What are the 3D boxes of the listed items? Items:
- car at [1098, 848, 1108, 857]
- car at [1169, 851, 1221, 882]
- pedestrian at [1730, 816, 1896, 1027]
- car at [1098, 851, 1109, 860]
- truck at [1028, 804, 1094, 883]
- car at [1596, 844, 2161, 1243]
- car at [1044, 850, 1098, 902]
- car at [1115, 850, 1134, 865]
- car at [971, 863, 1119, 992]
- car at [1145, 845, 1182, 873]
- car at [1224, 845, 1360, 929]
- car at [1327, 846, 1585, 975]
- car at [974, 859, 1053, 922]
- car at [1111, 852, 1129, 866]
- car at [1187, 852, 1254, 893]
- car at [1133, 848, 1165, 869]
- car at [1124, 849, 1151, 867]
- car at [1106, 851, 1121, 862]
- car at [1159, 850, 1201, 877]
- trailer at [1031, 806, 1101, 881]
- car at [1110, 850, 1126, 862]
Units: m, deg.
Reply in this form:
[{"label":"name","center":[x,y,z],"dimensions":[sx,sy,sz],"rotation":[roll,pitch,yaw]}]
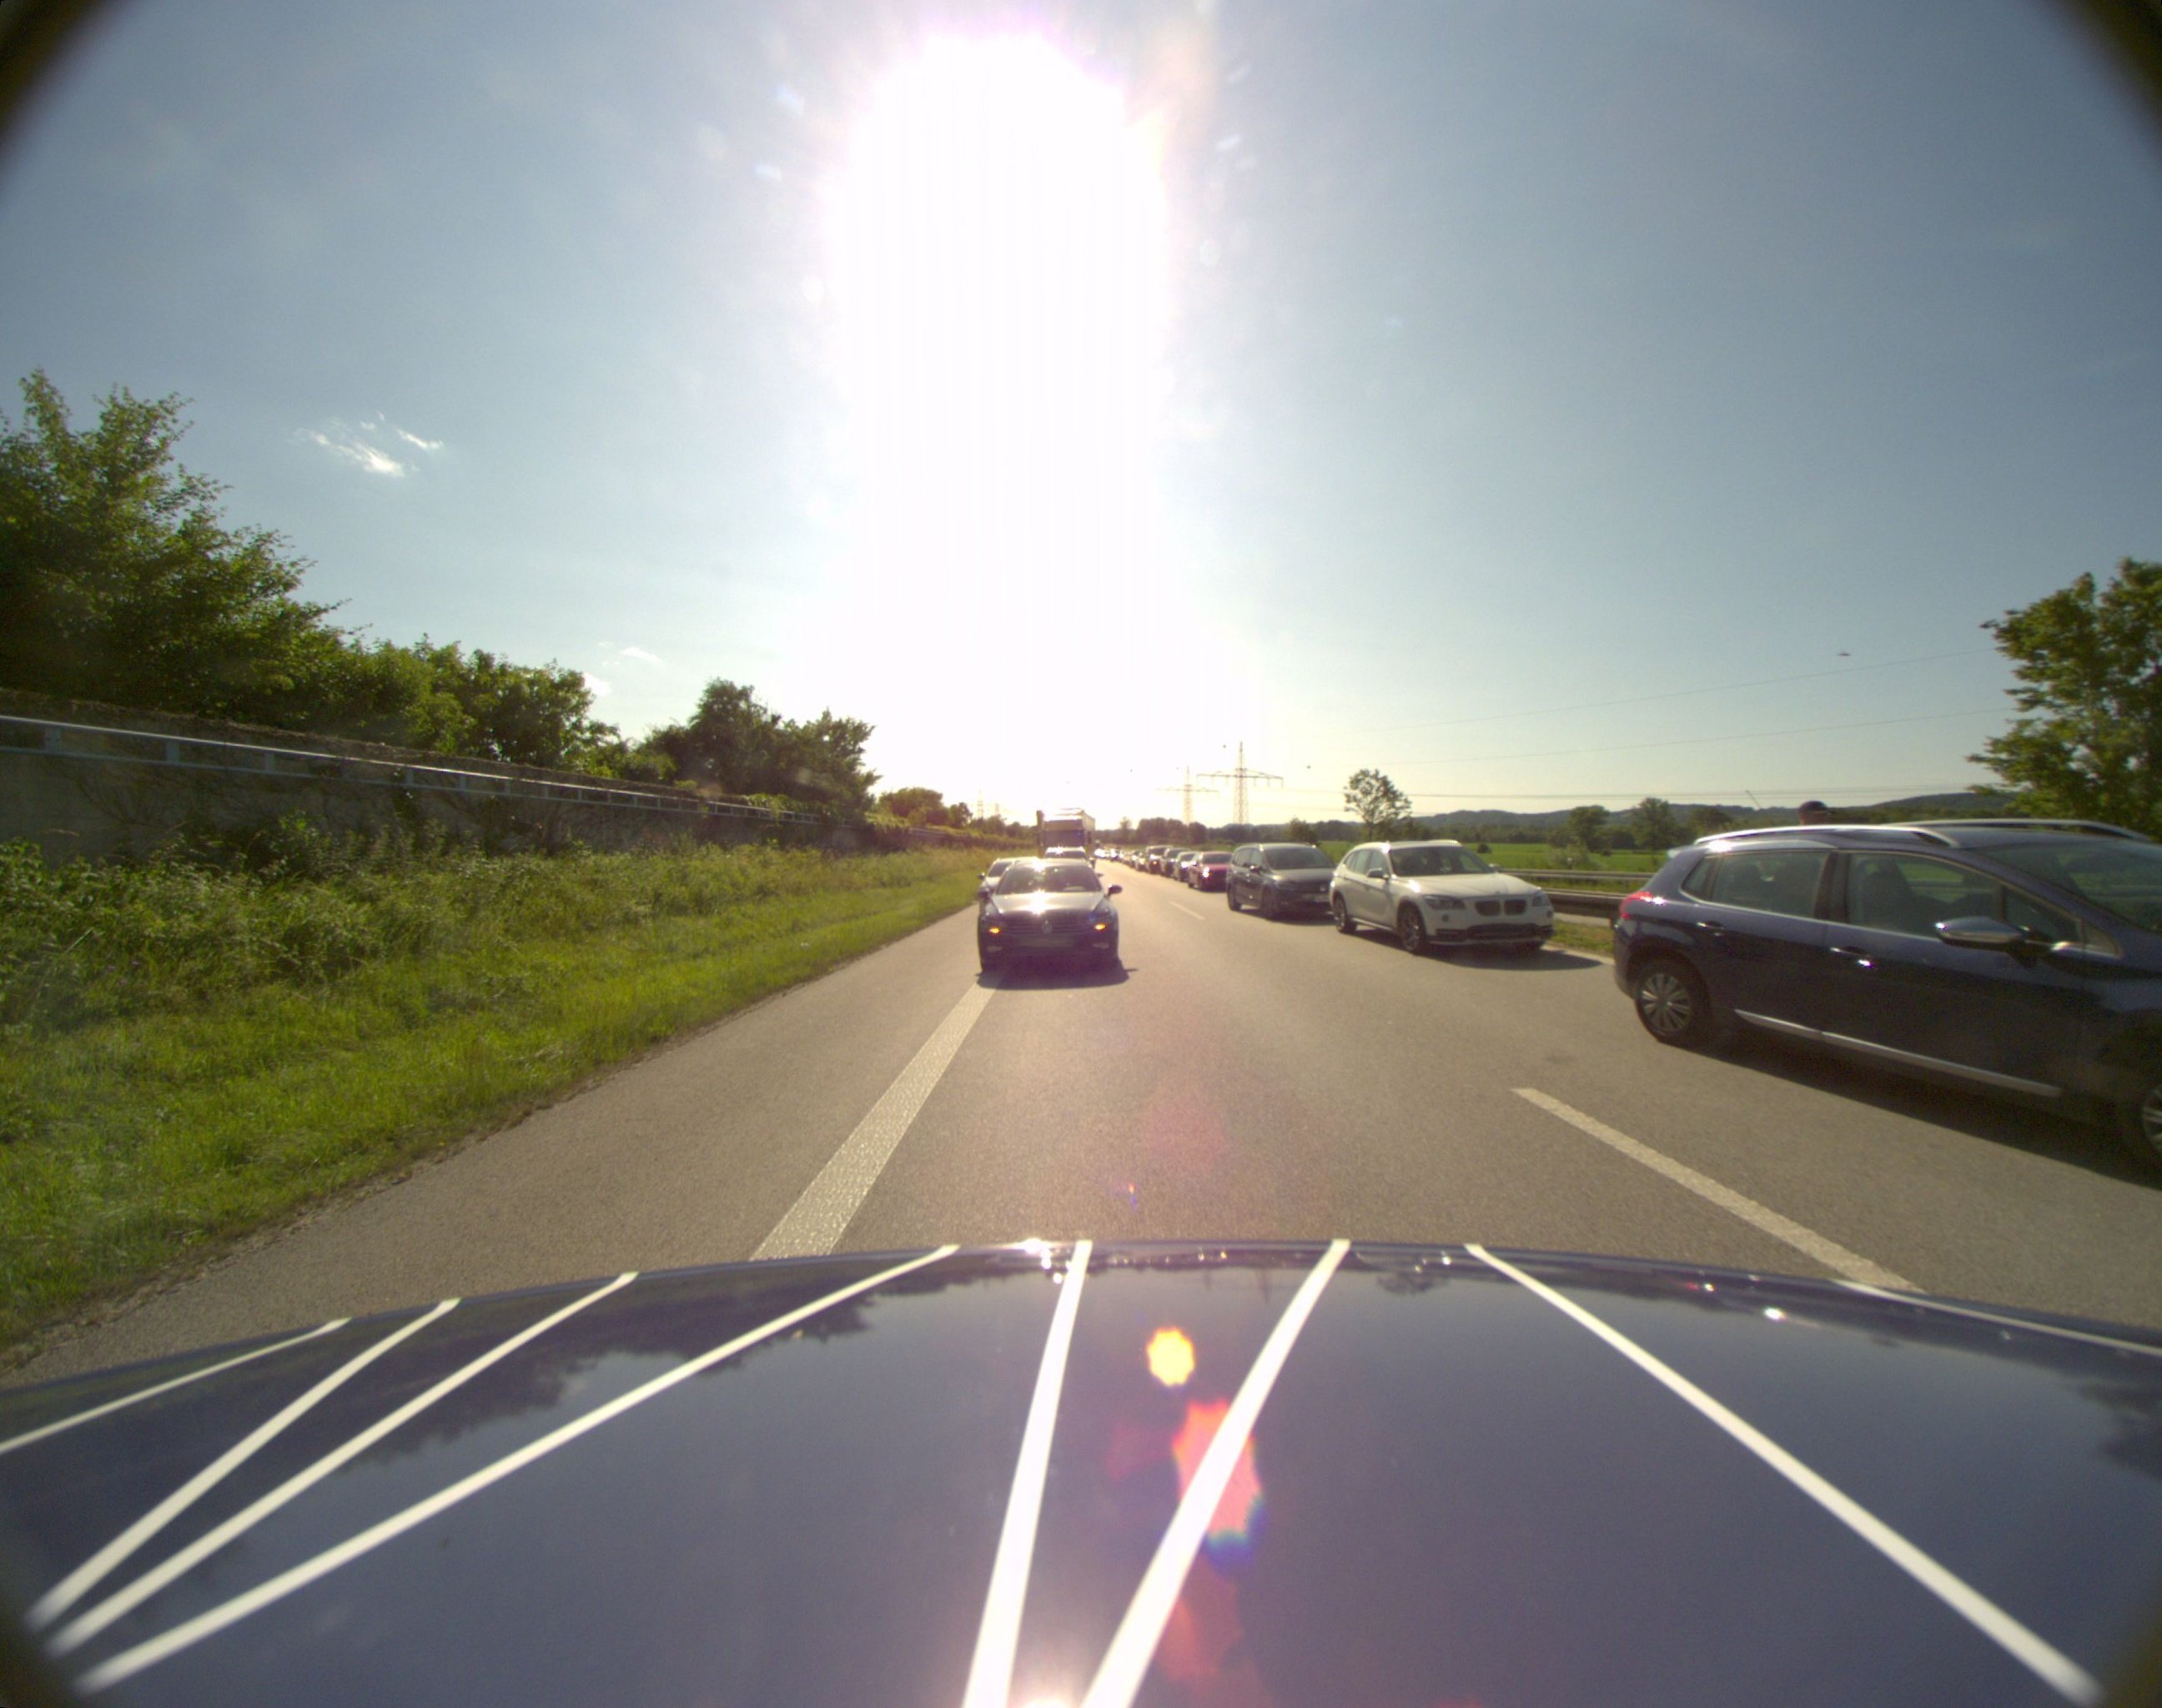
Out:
[{"label":"car","center":[4.102,-0.290,141.618],"dimensions":[1.813,1.783,3.772],"rotation":[-1,1,-1]},{"label":"car","center":[5.597,0.586,37.647],"dimensions":[1.895,1.390,3.999],"rotation":[-1,0,-1]},{"label":"pedestrian","center":[6.418,0.558,6.709],"dimensions":[0.672,1.740,0.814],"rotation":[0,1,-1]},{"label":"car","center":[3.960,0.232,132.284],"dimensions":[1.819,1.450,4.117],"rotation":[0,0,1]},{"label":"truck","center":[-1.016,-0.591,43.852],"dimensions":[3.333,4.089,6.969],"rotation":[-2,1,1]},{"label":"car","center":[5.057,0.747,4.087],"dimensions":[1.692,1.526,3.947],"rotation":[-3,1,-4]},{"label":"car","center":[-0.339,0.708,27.023],"dimensions":[1.717,1.614,4.325],"rotation":[-2,0,0]},{"label":"car","center":[4.606,0.374,80.561],"dimensions":[1.819,1.450,4.117],"rotation":[-2,0,1]},{"label":"car","center":[-0.432,0.903,11.253],"dimensions":[1.717,1.405,4.325],"rotation":[-2,0,0]},{"label":"car","center":[5.431,0.307,50.602],"dimensions":[1.902,1.777,4.199],"rotation":[-1,0,-1]},{"label":"car","center":[4.593,0.634,17.171],"dimensions":[1.820,1.607,4.116],"rotation":[-2,1,-1]},{"label":"car","center":[5.310,0.684,11.459],"dimensions":[1.832,1.564,4.163],"rotation":[-1,0,0]},{"label":"car","center":[-1.715,0.902,20.551],"dimensions":[1.717,1.417,4.325],"rotation":[-2,0,0]},{"label":"car","center":[4.476,0.554,87.153],"dimensions":[1.820,1.450,4.117],"rotation":[0,0,0]},{"label":"car","center":[5.225,0.644,28.942],"dimensions":[1.819,1.450,4.117],"rotation":[0,0,1]},{"label":"car","center":[5.149,0.327,57.772],"dimensions":[1.999,1.522,3.999],"rotation":[-1,0,-1]},{"label":"car","center":[4.939,0.353,67.063],"dimensions":[1.999,1.522,3.999],"rotation":[-1,0,-1]},{"label":"car","center":[4.487,0.303,106.271],"dimensions":[1.820,1.450,4.117],"rotation":[-2,0,0]},{"label":"car","center":[5.650,0.513,43.737],"dimensions":[1.894,1.447,3.999],"rotation":[-1,0,0]},{"label":"trailer","center":[-0.665,-0.697,49.951],"dimensions":[3.387,4.089,13.953],"rotation":[-2,1,3]},{"label":"car","center":[4.733,0.284,97.848],"dimensions":[1.819,1.450,4.117],"rotation":[0,0,0]}]
